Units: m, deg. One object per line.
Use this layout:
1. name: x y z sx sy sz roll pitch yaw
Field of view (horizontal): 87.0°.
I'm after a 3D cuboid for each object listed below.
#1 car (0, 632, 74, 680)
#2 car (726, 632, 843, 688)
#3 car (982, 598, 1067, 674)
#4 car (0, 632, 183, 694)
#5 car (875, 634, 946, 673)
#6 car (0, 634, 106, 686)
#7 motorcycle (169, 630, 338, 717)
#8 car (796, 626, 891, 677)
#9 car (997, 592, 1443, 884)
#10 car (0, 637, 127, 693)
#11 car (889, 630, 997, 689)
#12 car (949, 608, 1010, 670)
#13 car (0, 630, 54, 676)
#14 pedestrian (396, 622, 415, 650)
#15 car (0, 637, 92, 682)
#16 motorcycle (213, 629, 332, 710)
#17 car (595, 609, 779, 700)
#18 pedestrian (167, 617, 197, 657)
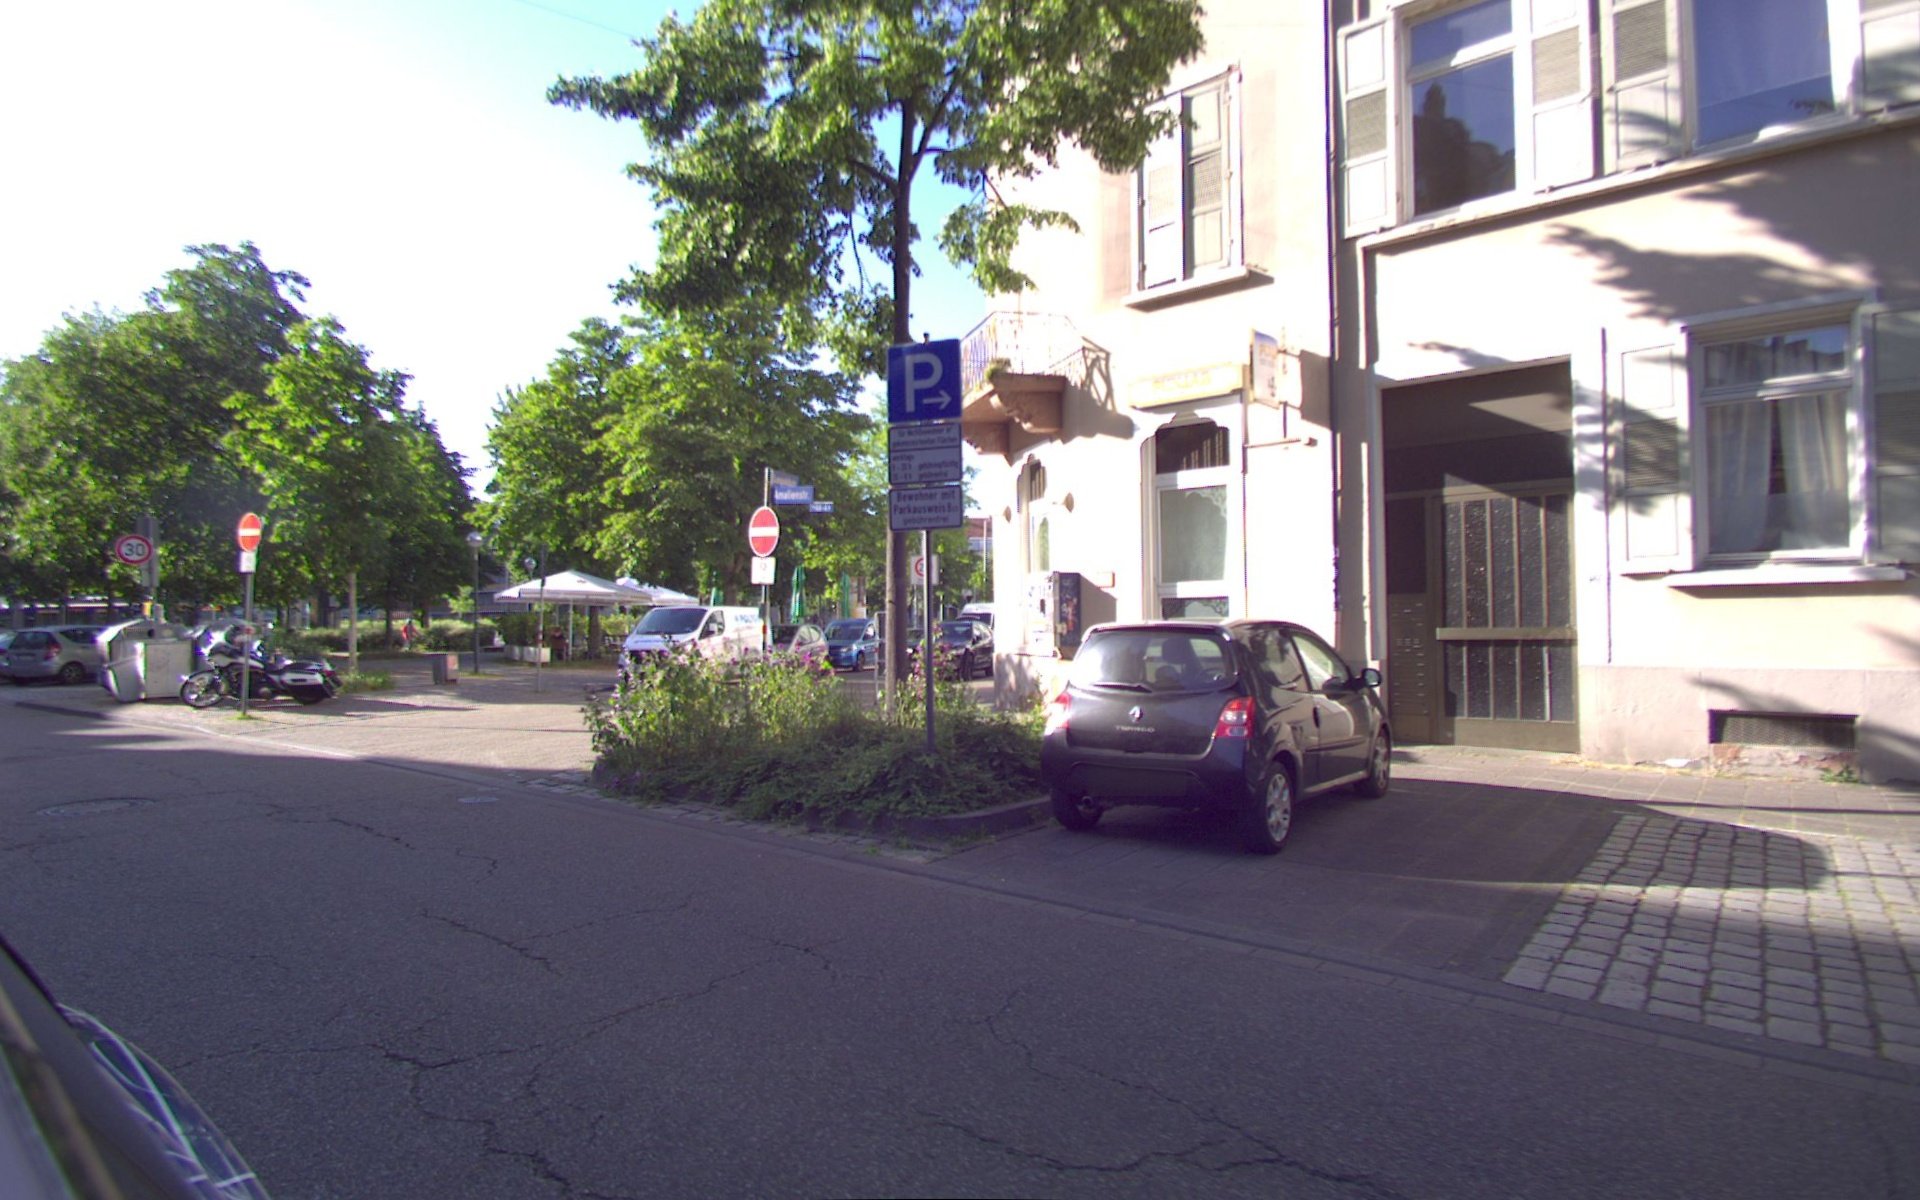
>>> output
1. car: -35.320 2.030 36.946 2.087 1.657 3.974 0 -1 19
2. car: -5.068 1.742 29.803 1.909 1.528 4.132 -1 -3 14
3. car: 2.677 1.460 40.018 2.192 2.722 6.988 -1 -3 13
4. car: -24.198 1.691 28.073 1.977 1.574 3.990 -1 -1 8
5. car: -2.022 2.231 42.511 1.909 1.528 4.132 -1 -3 14
6. car: -28.863 1.812 30.825 1.980 1.485 3.983 -1 -2 13
7. motorcycle: -12.433 1.265 17.915 2.282 1.434 1.004 0 -2 -23
8. car: -3.898 1.746 34.532 1.909 1.625 4.132 -1 -3 14
9. car: 2.239 0.831 7.918 1.942 1.652 3.948 -2 -2 38
10. car: -26.464 1.813 28.789 1.977 1.453 3.990 -1 -1 8
11. car: -0.381 1.638 28.242 1.910 1.528 4.361 -1 -3 15
12. car: 1.115 2.126 53.870 2.098 3.109 5.871 -1 -3 13
13. car: -37.477 2.030 38.542 1.985 1.706 3.973 -1 -2 20
14. pedestrian: -24.795 1.615 45.289 0.516 1.267 0.523 -1 -3 21
15. car: -33.181 2.065 35.325 1.990 1.485 3.964 -2 -2 26
16. motorcycle: -12.804 1.268 18.909 1.724 1.434 0.832 0 -2 -24
17. car: -6.424 1.305 24.608 2.054 1.959 5.305 -1 -3 13
18. pedestrian: -24.795 1.176 32.245 0.520 1.267 0.519 0 -2 6
